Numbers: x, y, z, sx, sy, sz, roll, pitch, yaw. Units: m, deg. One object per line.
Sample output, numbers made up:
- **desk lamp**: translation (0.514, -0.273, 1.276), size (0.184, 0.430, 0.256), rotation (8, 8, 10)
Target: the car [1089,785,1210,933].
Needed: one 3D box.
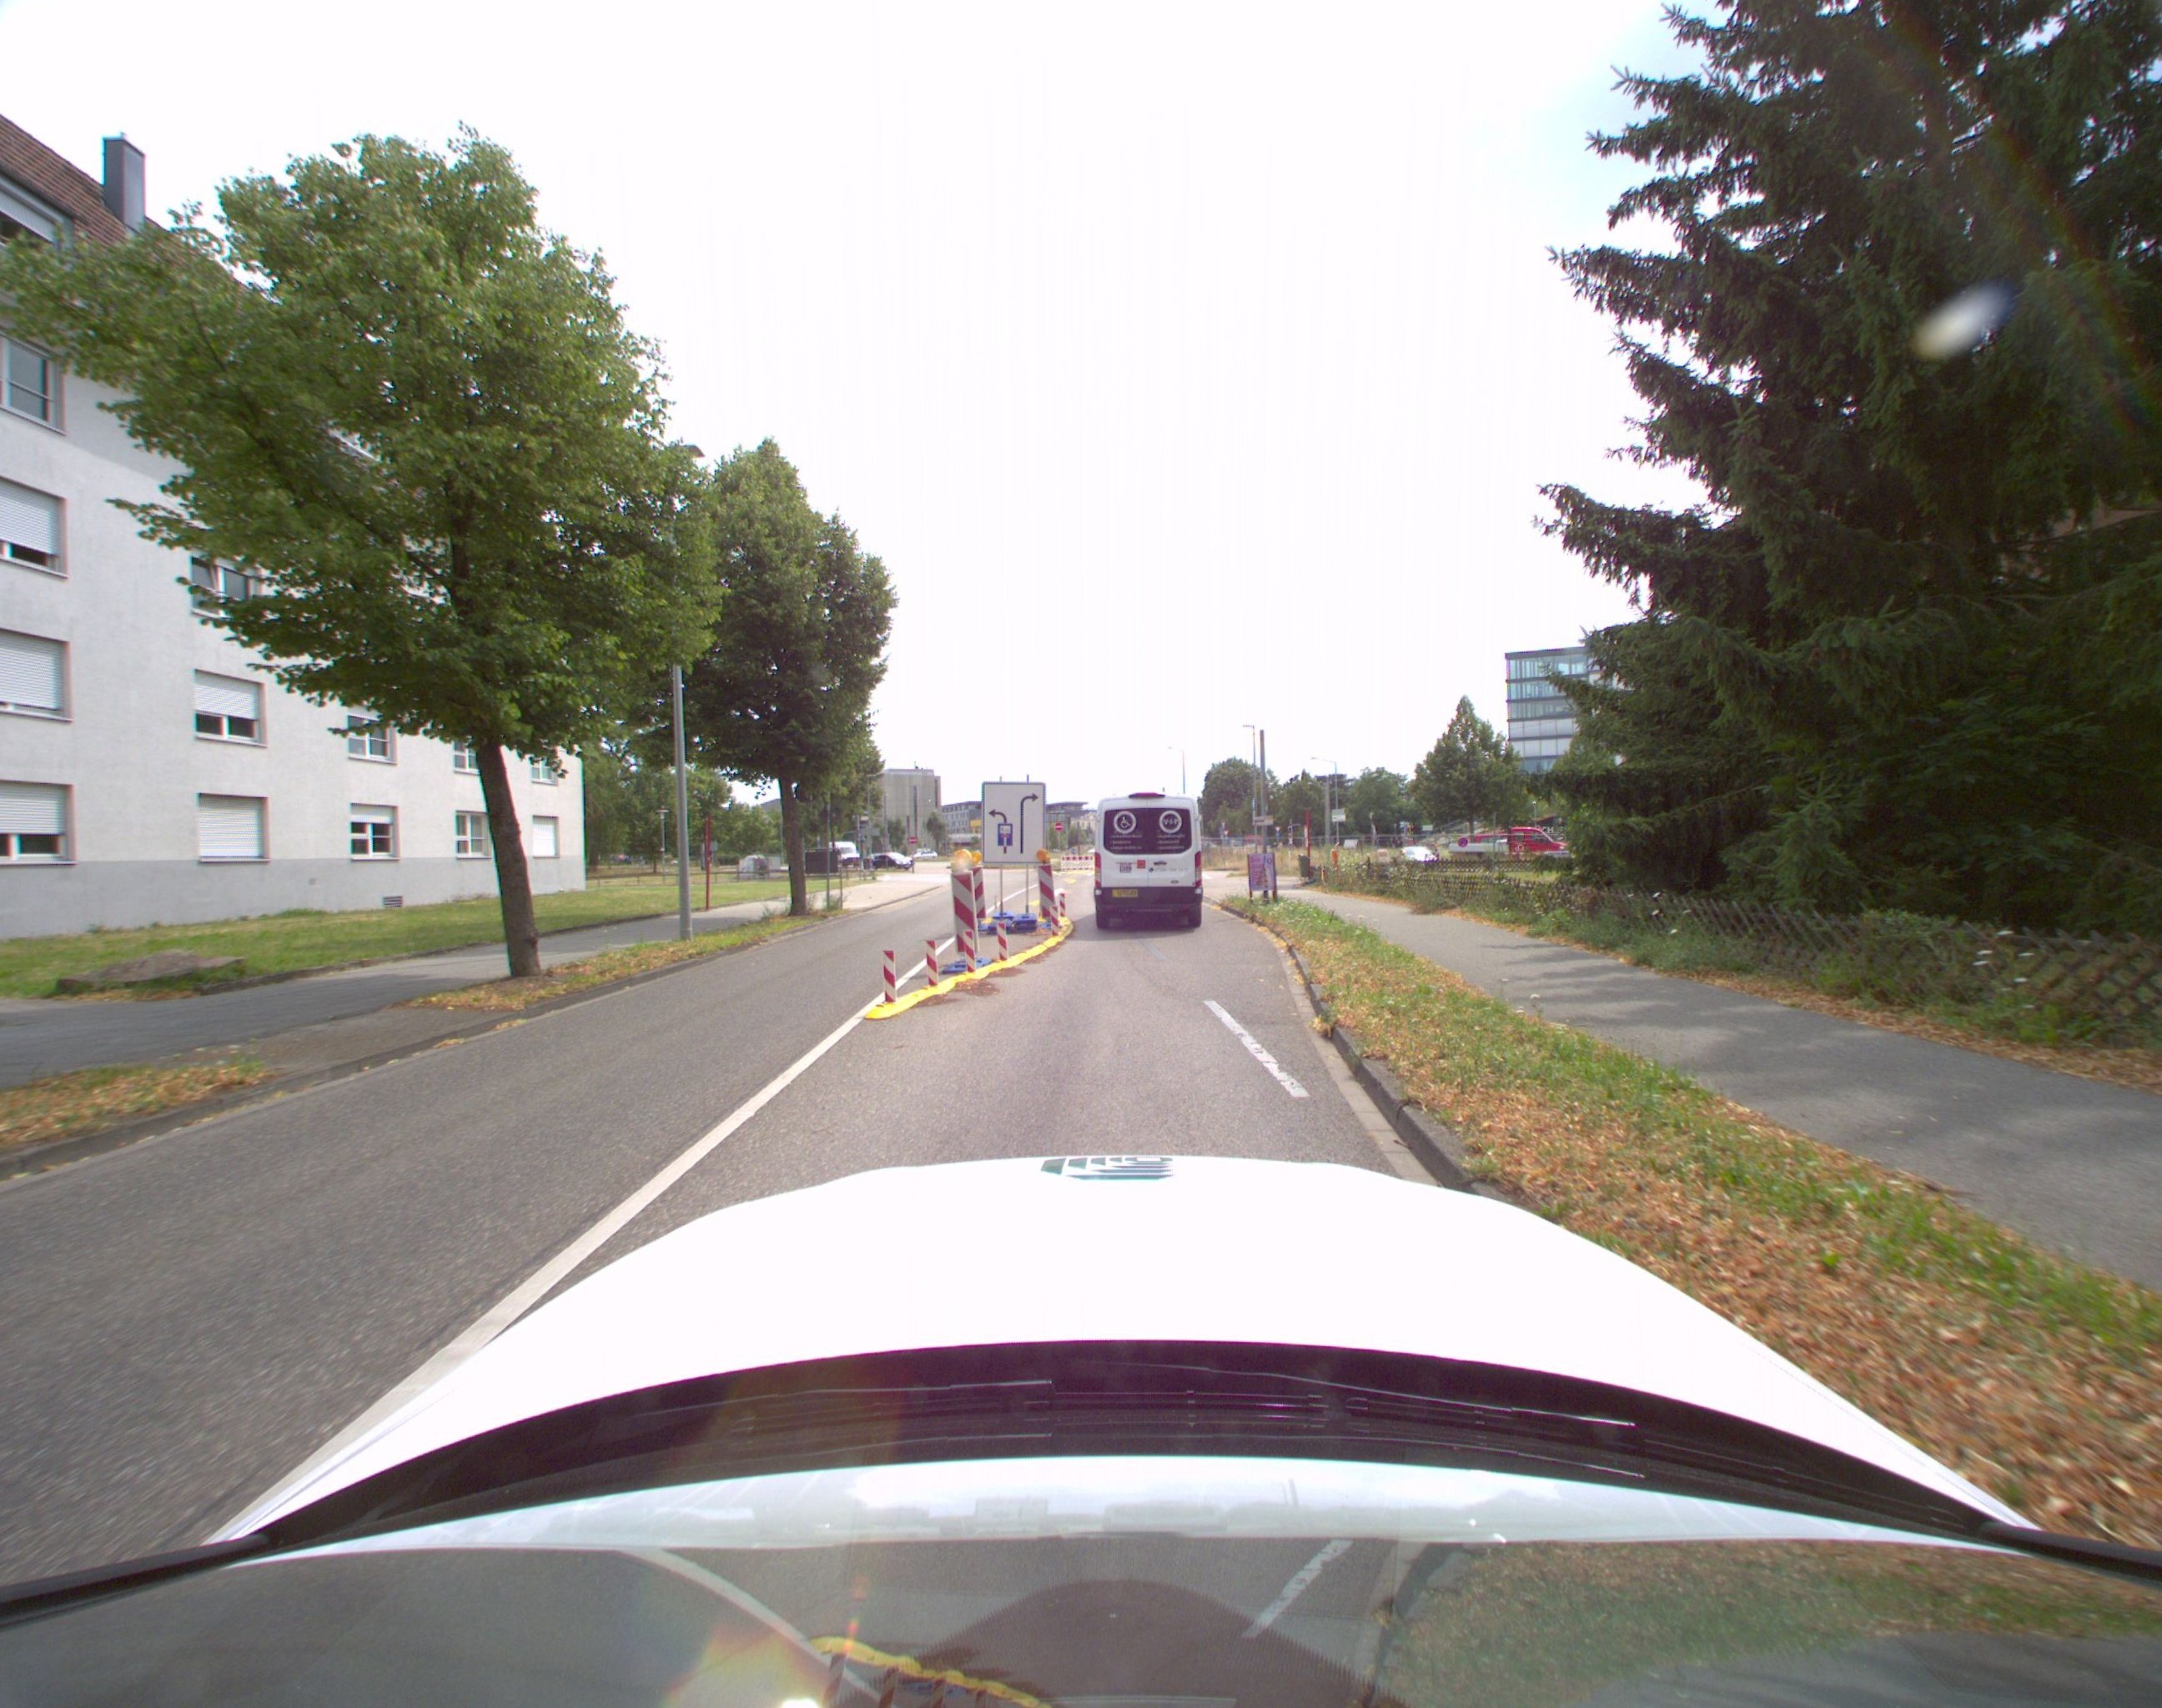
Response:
- **car**: translation (1.379, 0.090, 16.430), size (2.053, 2.540, 4.005), rotation (-2, 0, 5)

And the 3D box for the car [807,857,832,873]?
- **car**: translation (-30.542, 1.325, 95.104), size (1.897, 1.662, 3.960), rotation (-3, 0, -31)

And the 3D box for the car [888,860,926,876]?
- **car**: translation (-16.918, 1.376, 79.124), size (1.631, 1.354, 4.303), rotation (-4, 0, -42)

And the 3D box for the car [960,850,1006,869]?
- **car**: translation (-9.660, 0.526, 80.073), size (3.960, 1.662, 1.897), rotation (-3, 0, 12)

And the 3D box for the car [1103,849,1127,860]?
- **car**: translation (6.151, 0.044, 146.257), size (4.013, 1.771, 1.750), rotation (-4, 0, -31)

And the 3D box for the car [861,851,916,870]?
- **car**: translation (-16.619, 0.585, 70.356), size (4.215, 1.478, 1.783), rotation (-2, 0, 11)

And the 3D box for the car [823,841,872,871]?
- **car**: translation (-24.352, 0.216, 84.762), size (2.633, 2.851, 5.608), rotation (-4, 0, -40)

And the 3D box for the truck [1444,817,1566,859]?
- **truck**: translation (26.447, -0.956, 51.048), size (6.599, 2.426, 2.549), rotation (-1, 0, 27)

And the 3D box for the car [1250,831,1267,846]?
- **car**: translation (24.053, -2.127, 110.193), size (1.992, 1.816, 4.430), rotation (-3, 0, 15)

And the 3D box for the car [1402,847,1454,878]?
- **car**: translation (19.638, 0.449, 46.217), size (1.839, 1.497, 4.350), rotation (-3, 0, 12)

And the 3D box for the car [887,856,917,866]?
- **car**: translation (-27.117, 1.056, 123.402), size (4.015, 1.192, 1.669), rotation (-4, 0, -32)
